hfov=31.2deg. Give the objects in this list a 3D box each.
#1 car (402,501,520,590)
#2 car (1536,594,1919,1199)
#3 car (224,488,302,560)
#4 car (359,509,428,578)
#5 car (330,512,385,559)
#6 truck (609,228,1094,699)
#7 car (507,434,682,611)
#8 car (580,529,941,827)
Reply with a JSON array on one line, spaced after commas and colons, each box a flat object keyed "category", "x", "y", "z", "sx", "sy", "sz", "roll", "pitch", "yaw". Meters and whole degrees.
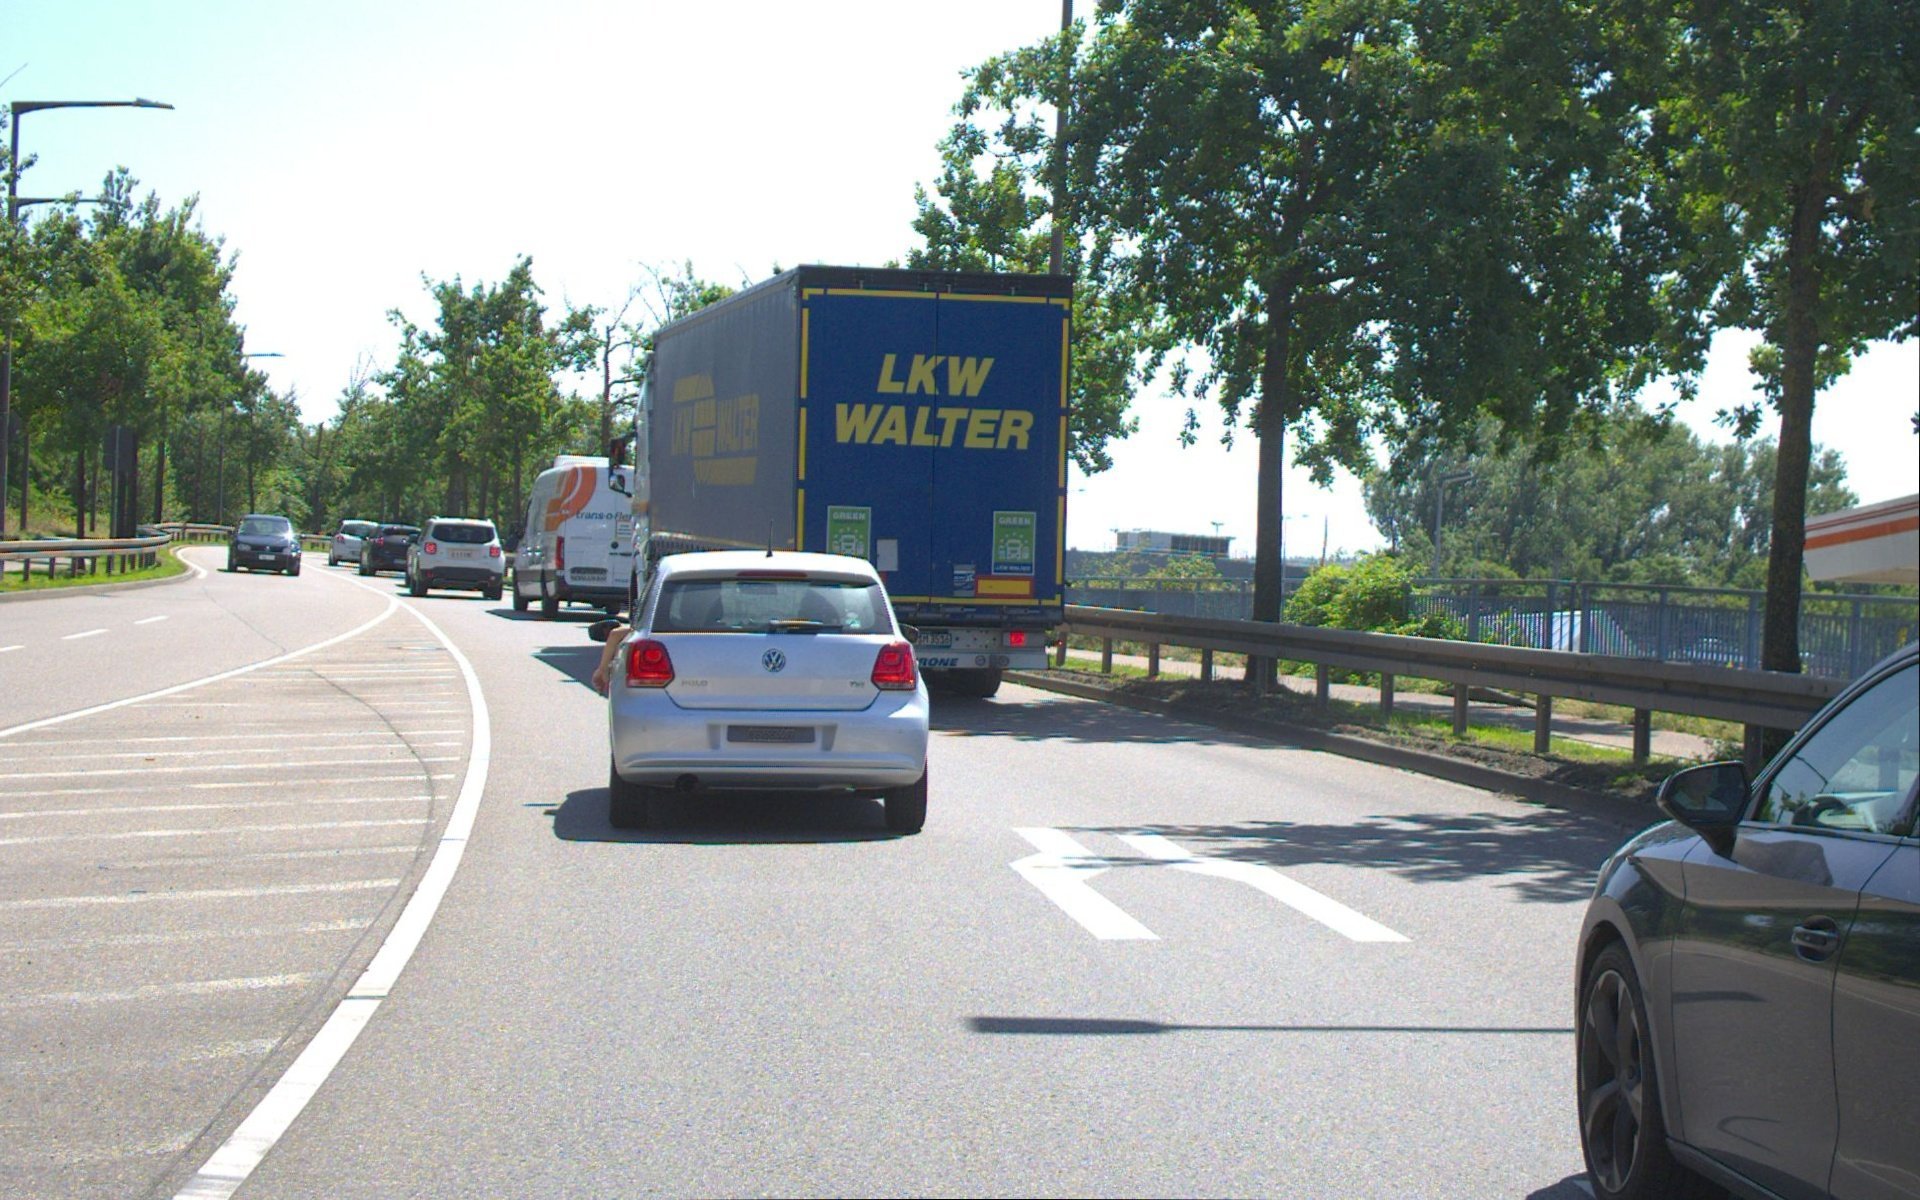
[{"category": "car", "x": -10.567, "y": -1.124, "z": 72.604, "sx": 1.903, "sy": 1.712, "sz": 4.224, "roll": 2, "pitch": -1, "yaw": -15}, {"category": "car", "x": 2.353, "y": 0.749, "z": 6.102, "sx": 1.604, "sy": 1.451, "sz": 4.235, "roll": 2, "pitch": -1, "yaw": -4}, {"category": "car", "x": -17.441, "y": -1.923, "z": 86.121, "sx": 1.678, "sy": 1.665, "sz": 3.756, "roll": 1, "pitch": 2, "yaw": -8}, {"category": "car", "x": -15.551, "y": -1.535, "z": 94.272, "sx": 1.721, "sy": 1.720, "sz": 4.001, "roll": 2, "pitch": -1, "yaw": -11}, {"category": "car", "x": -18.981, "y": -2.022, "z": 108.248, "sx": 1.607, "sy": 1.355, "sz": 3.663, "roll": 2, "pitch": 0, "yaw": -10}, {"category": "truck", "x": -1.791, "y": -1.244, "z": 39.472, "sx": 2.832, "sy": 4.184, "sz": 16.478, "roll": 2, "pitch": 0, "yaw": -11}, {"category": "car", "x": -6.566, "y": -1.370, "z": 61.070, "sx": 2.175, "sy": 2.890, "sz": 6.360, "roll": 2, "pitch": 1, "yaw": -14}, {"category": "car", "x": -1.185, "y": 0.417, "z": 18.954, "sx": 1.645, "sy": 1.434, "sz": 3.537, "roll": 2, "pitch": -1, "yaw": -8}]
